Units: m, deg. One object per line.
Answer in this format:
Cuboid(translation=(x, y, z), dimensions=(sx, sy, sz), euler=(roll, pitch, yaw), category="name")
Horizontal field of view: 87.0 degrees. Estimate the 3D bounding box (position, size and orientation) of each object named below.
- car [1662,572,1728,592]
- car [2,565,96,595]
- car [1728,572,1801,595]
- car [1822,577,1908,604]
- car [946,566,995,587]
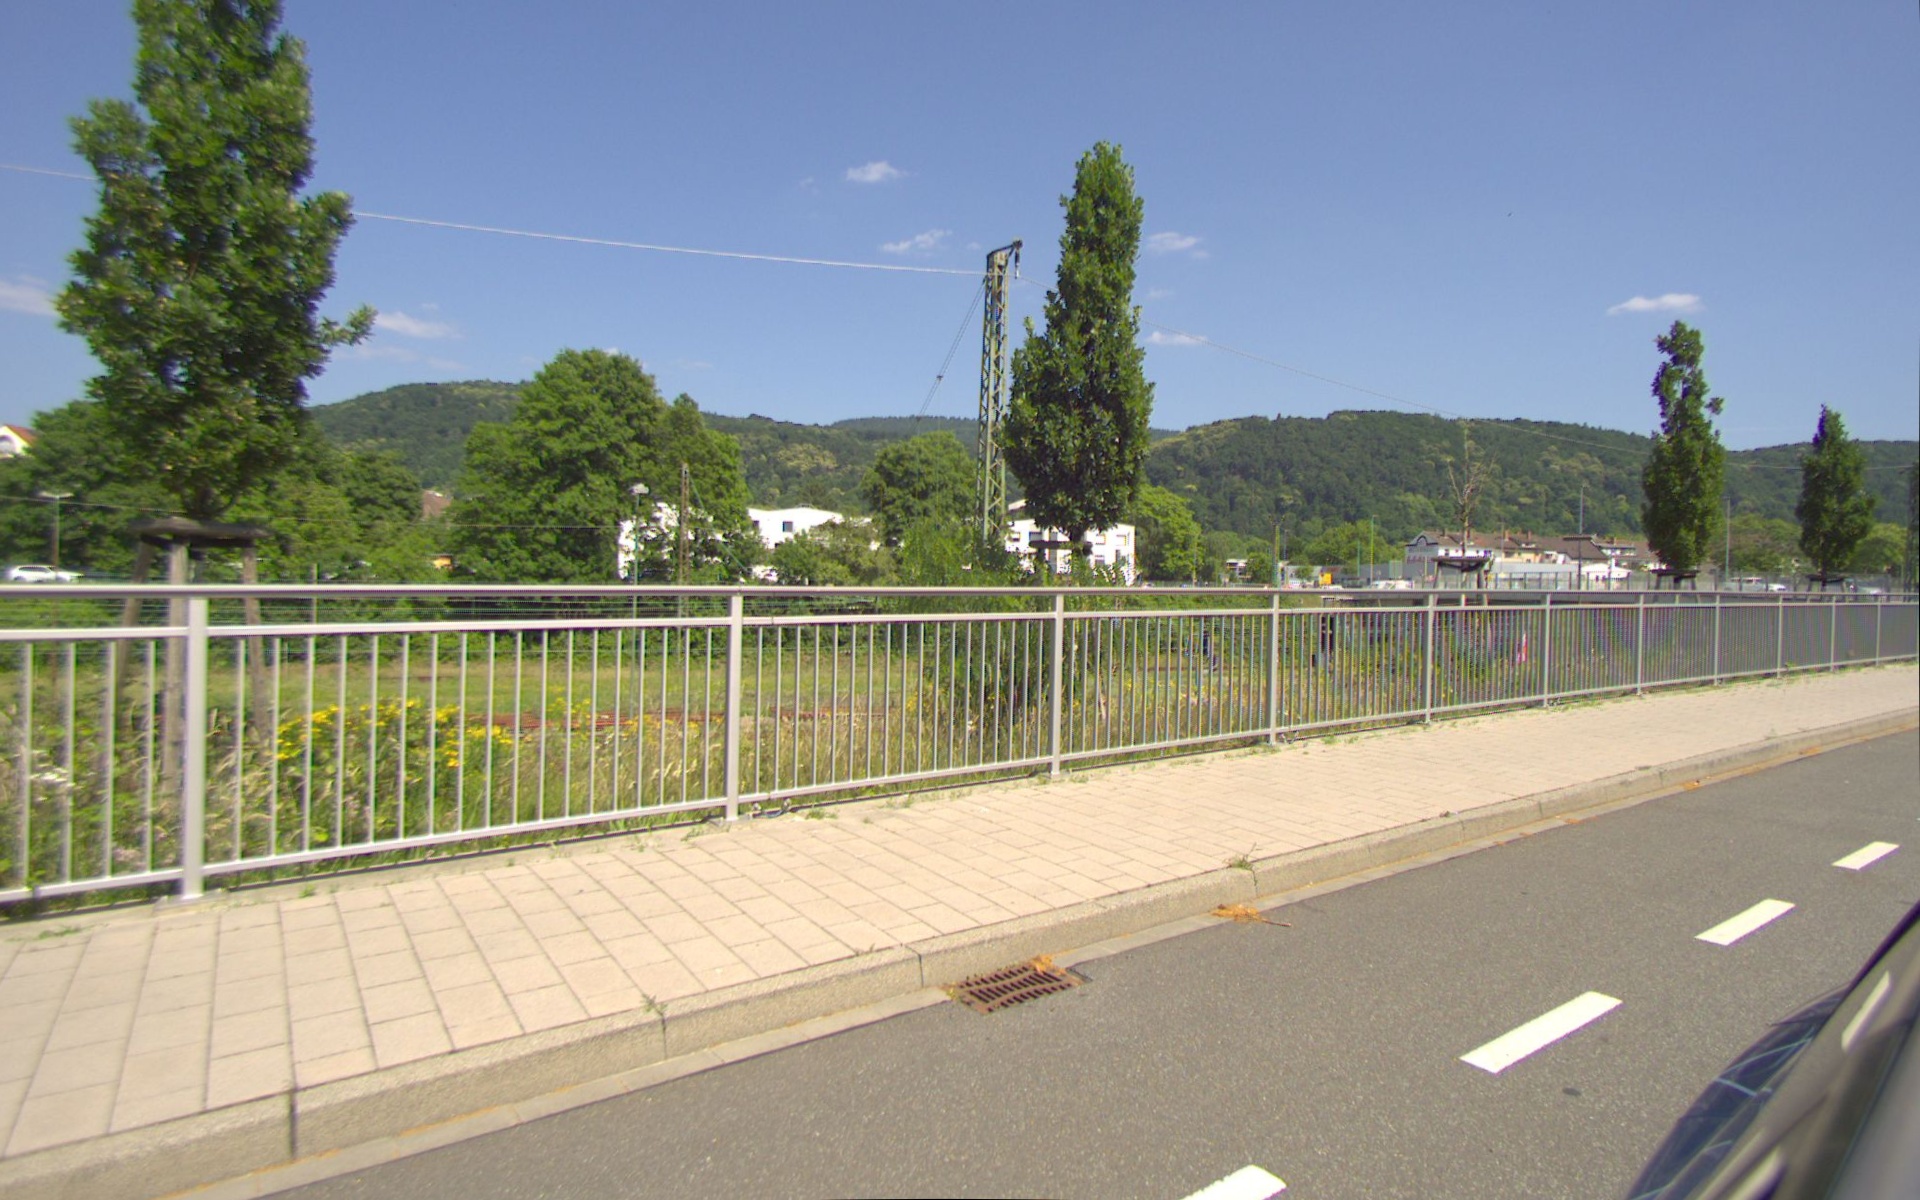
Cuboid(translation=(62.248, -1.542, 85.763), dimensions=(1.700, 1.647, 4.452), euler=(1, 1, -14), category="car")
Cuboid(translation=(-68.490, -1.484, 76.195), dimensions=(4.890, 2.139, 2.003), euler=(0, 1, -29), category="car")
Cuboid(translation=(63.370, -1.327, 79.854), dimensions=(1.701, 1.646, 4.453), euler=(-1, 3, -11), category="car")
Cuboid(translation=(64.677, -0.709, 72.436), dimensions=(1.701, 1.646, 4.453), euler=(-1, 3, -11), category="car")
Cuboid(translation=(1.146, -2.457, 107.889), dimensions=(4.889, 2.139, 2.003), euler=(0, 1, -27), category="car")
